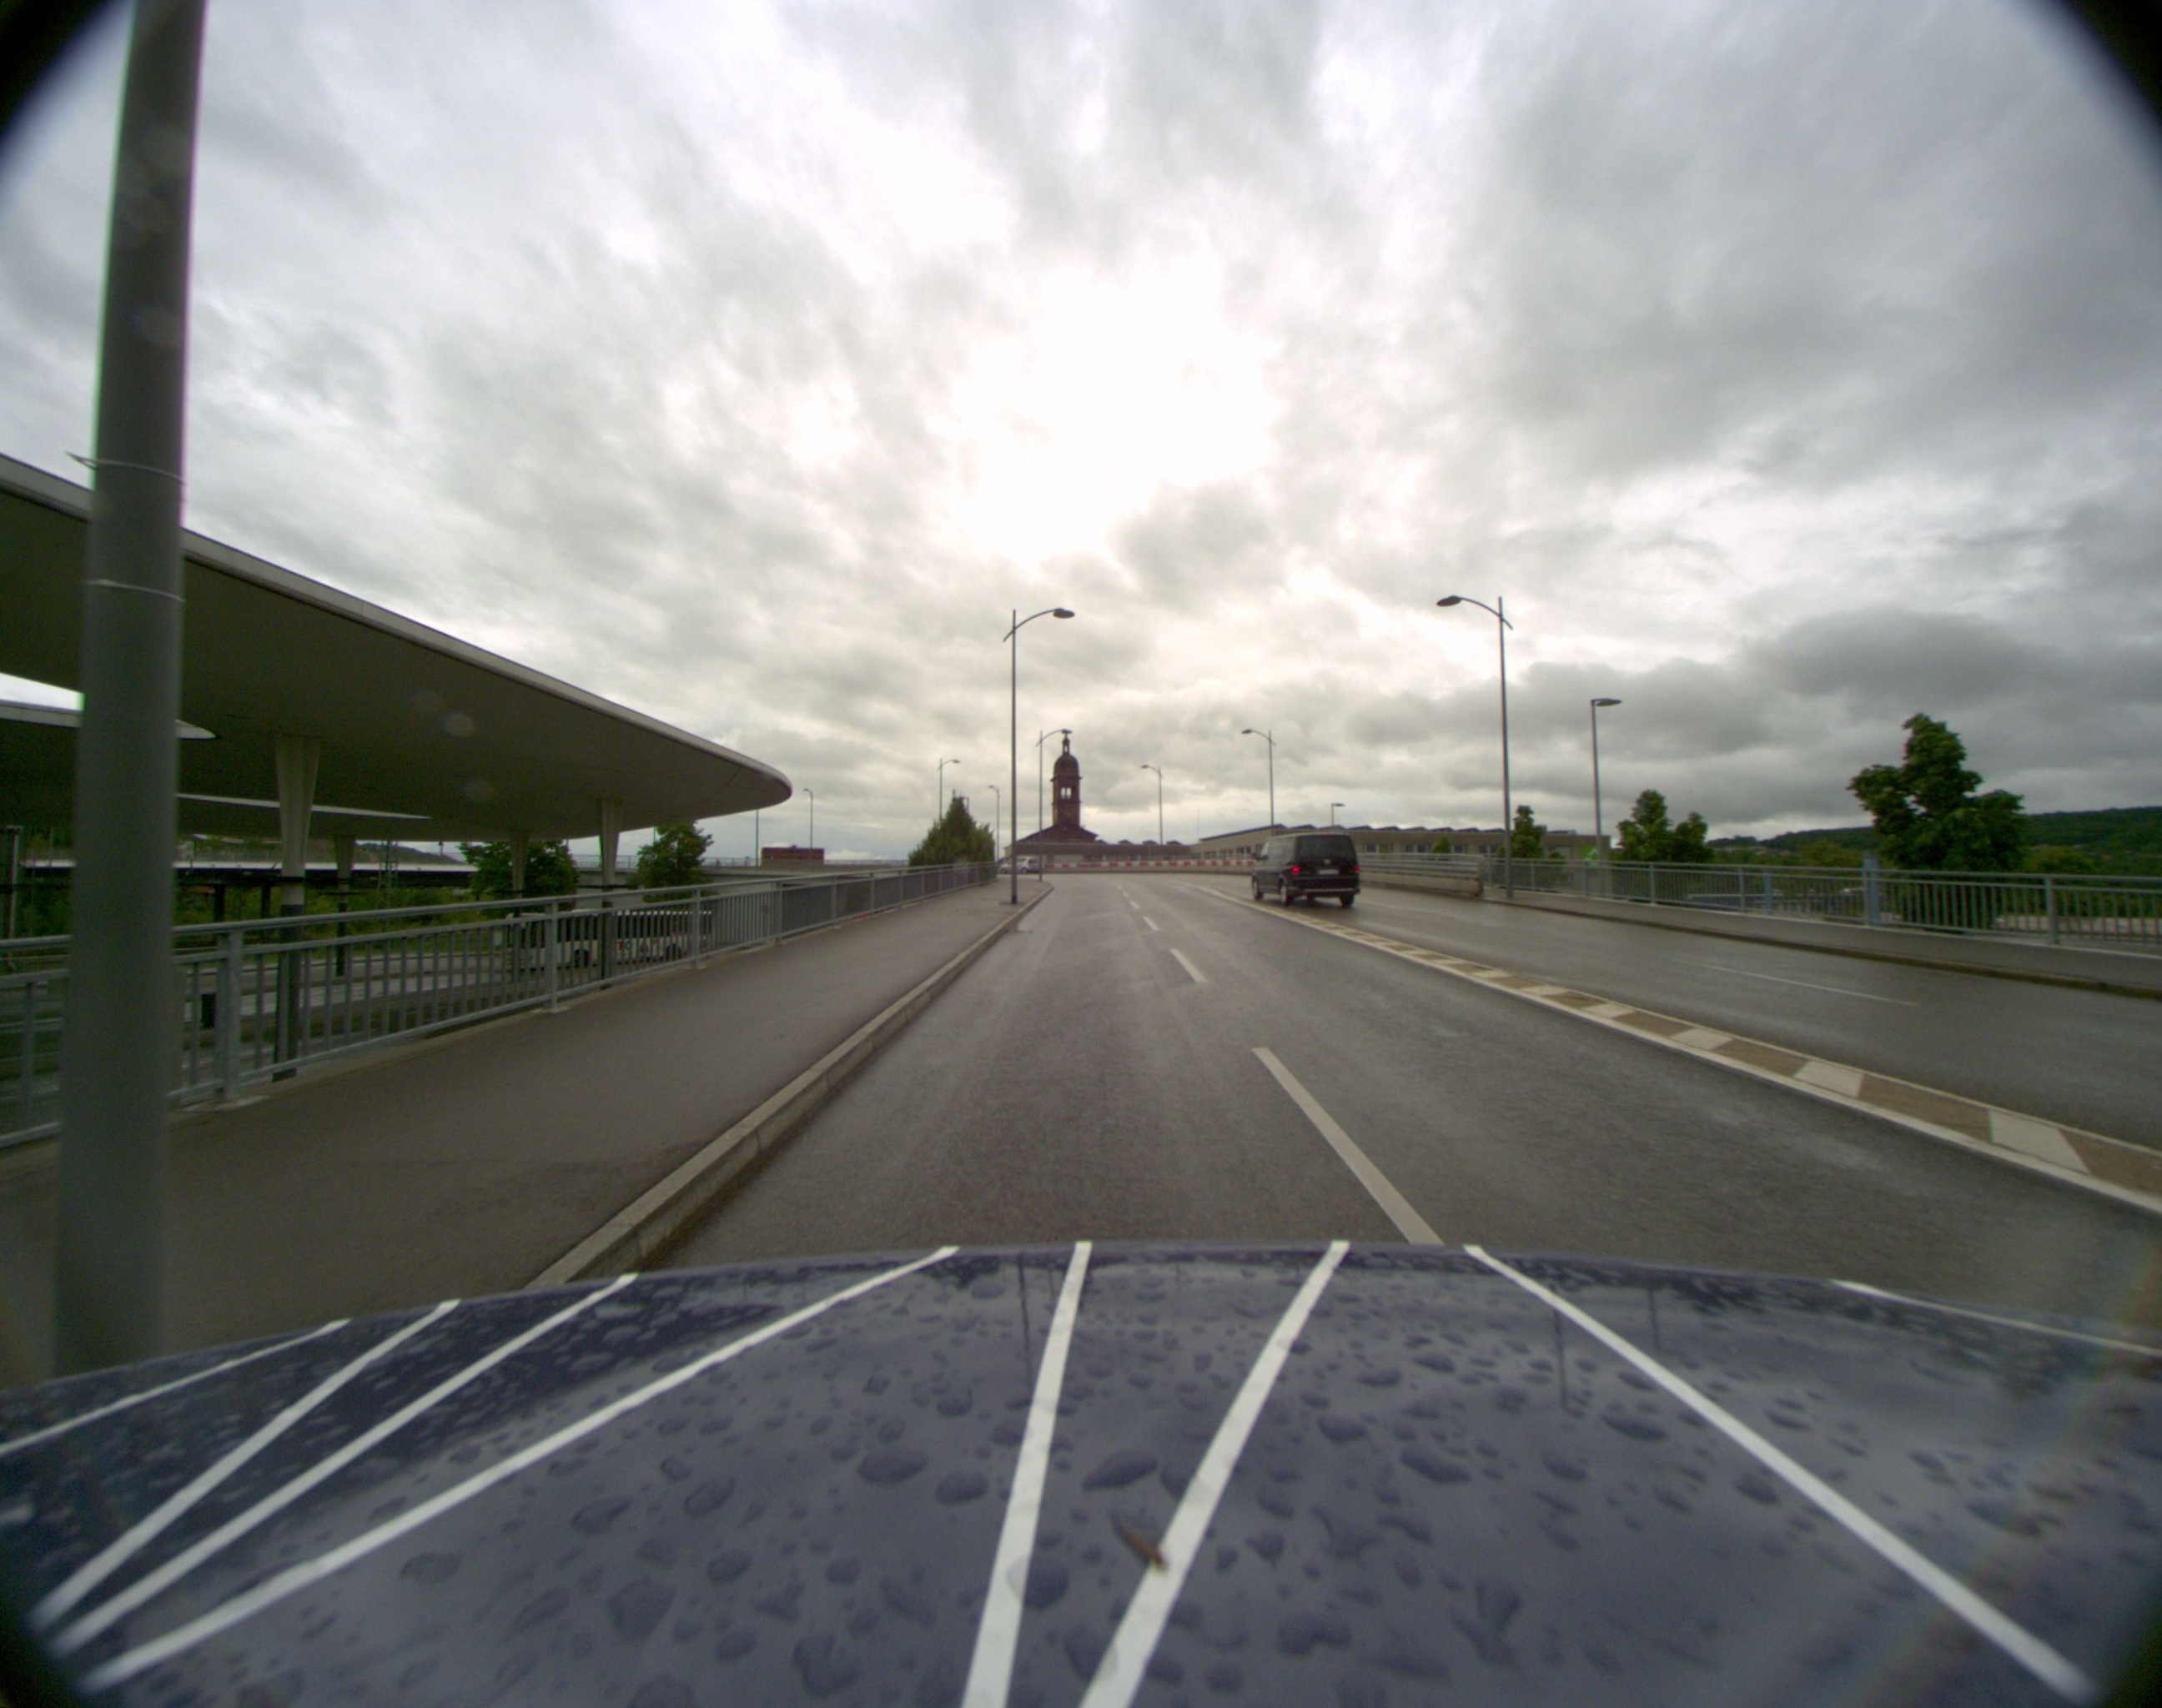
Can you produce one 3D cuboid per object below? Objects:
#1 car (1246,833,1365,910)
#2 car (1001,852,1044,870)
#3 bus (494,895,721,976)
[{"bbox_3d":[6.184,0.415,21.524,1.850,1.956,4.683,0,1,-2],"label":"car"},{"bbox_3d":[-5.401,0.640,70.160,3.699,1.599,1.653,0,1,32],"label":"car"},{"bbox_3d":[-27.497,4.574,45.386,2.791,3.239,12.156,-2,1,21],"label":"bus"}]
